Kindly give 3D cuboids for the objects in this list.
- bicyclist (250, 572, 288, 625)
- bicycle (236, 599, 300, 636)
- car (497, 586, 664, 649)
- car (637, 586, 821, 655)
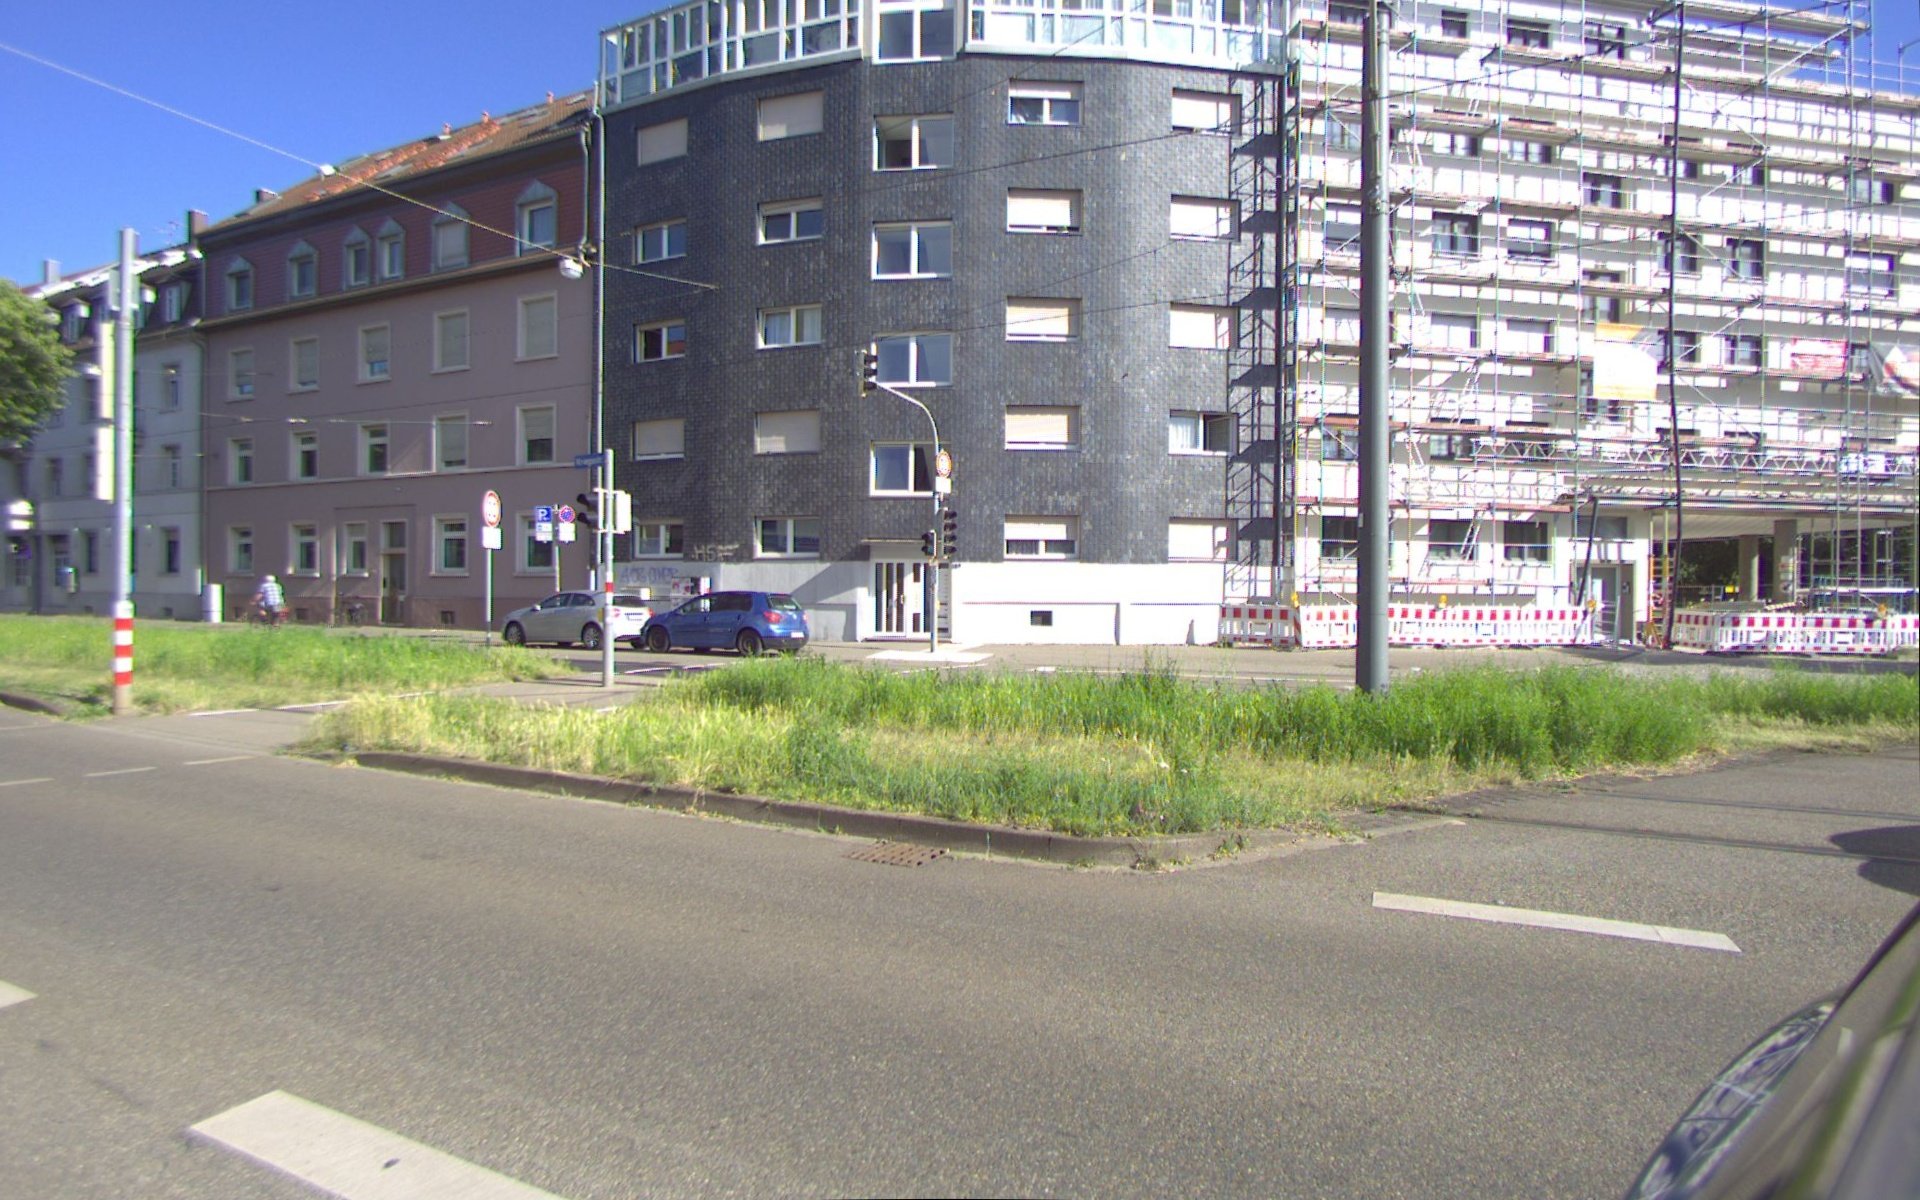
[{"bbox_3d":[-18.686,-0.048,27.366,0.797,1.427,0.505,1,0,24],"label":"bicyclist"},{"bbox_3d":[-18.722,0.461,27.385,1.976,0.967,0.502,1,0,26],"label":"bicycle"},{"bbox_3d":[-9.473,0.382,25.235,3.960,1.433,1.673,1,1,27],"label":"car"},{"bbox_3d":[-5.297,0.422,23.143,3.960,1.433,1.673,1,1,27],"label":"car"}]
